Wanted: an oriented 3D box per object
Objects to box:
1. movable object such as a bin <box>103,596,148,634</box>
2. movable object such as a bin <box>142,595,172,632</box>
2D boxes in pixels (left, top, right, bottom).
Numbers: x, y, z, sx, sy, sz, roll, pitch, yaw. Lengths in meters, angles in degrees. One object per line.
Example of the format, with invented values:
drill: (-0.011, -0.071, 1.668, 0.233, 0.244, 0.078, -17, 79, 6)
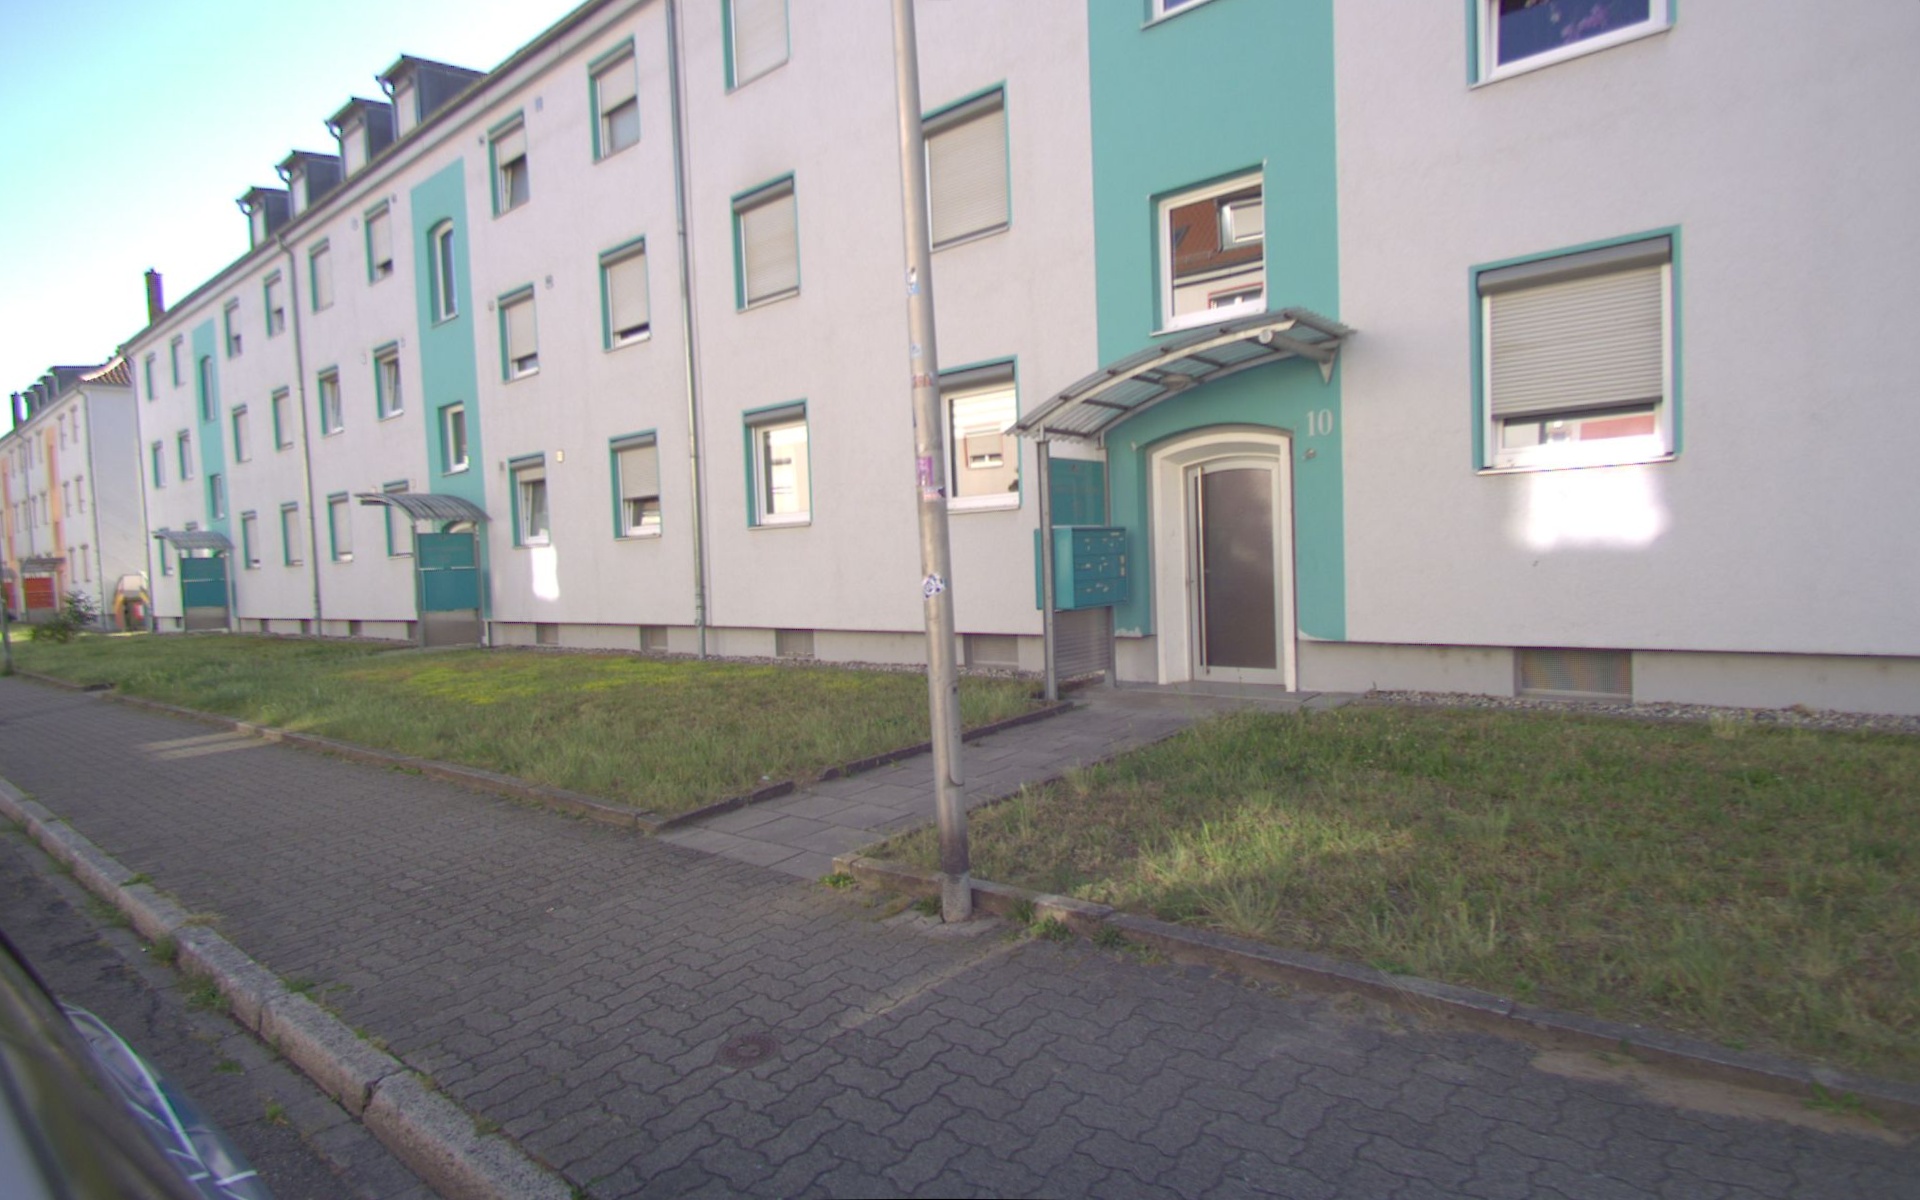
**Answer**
movable object such as a bin: (-32.314, 0.574, 39.196, 0.877, 1.403, 1.152, -1, 2, 40)
movable object such as a bin: (-31.712, 0.527, 39.979, 0.762, 1.403, 0.744, -1, 2, 40)
